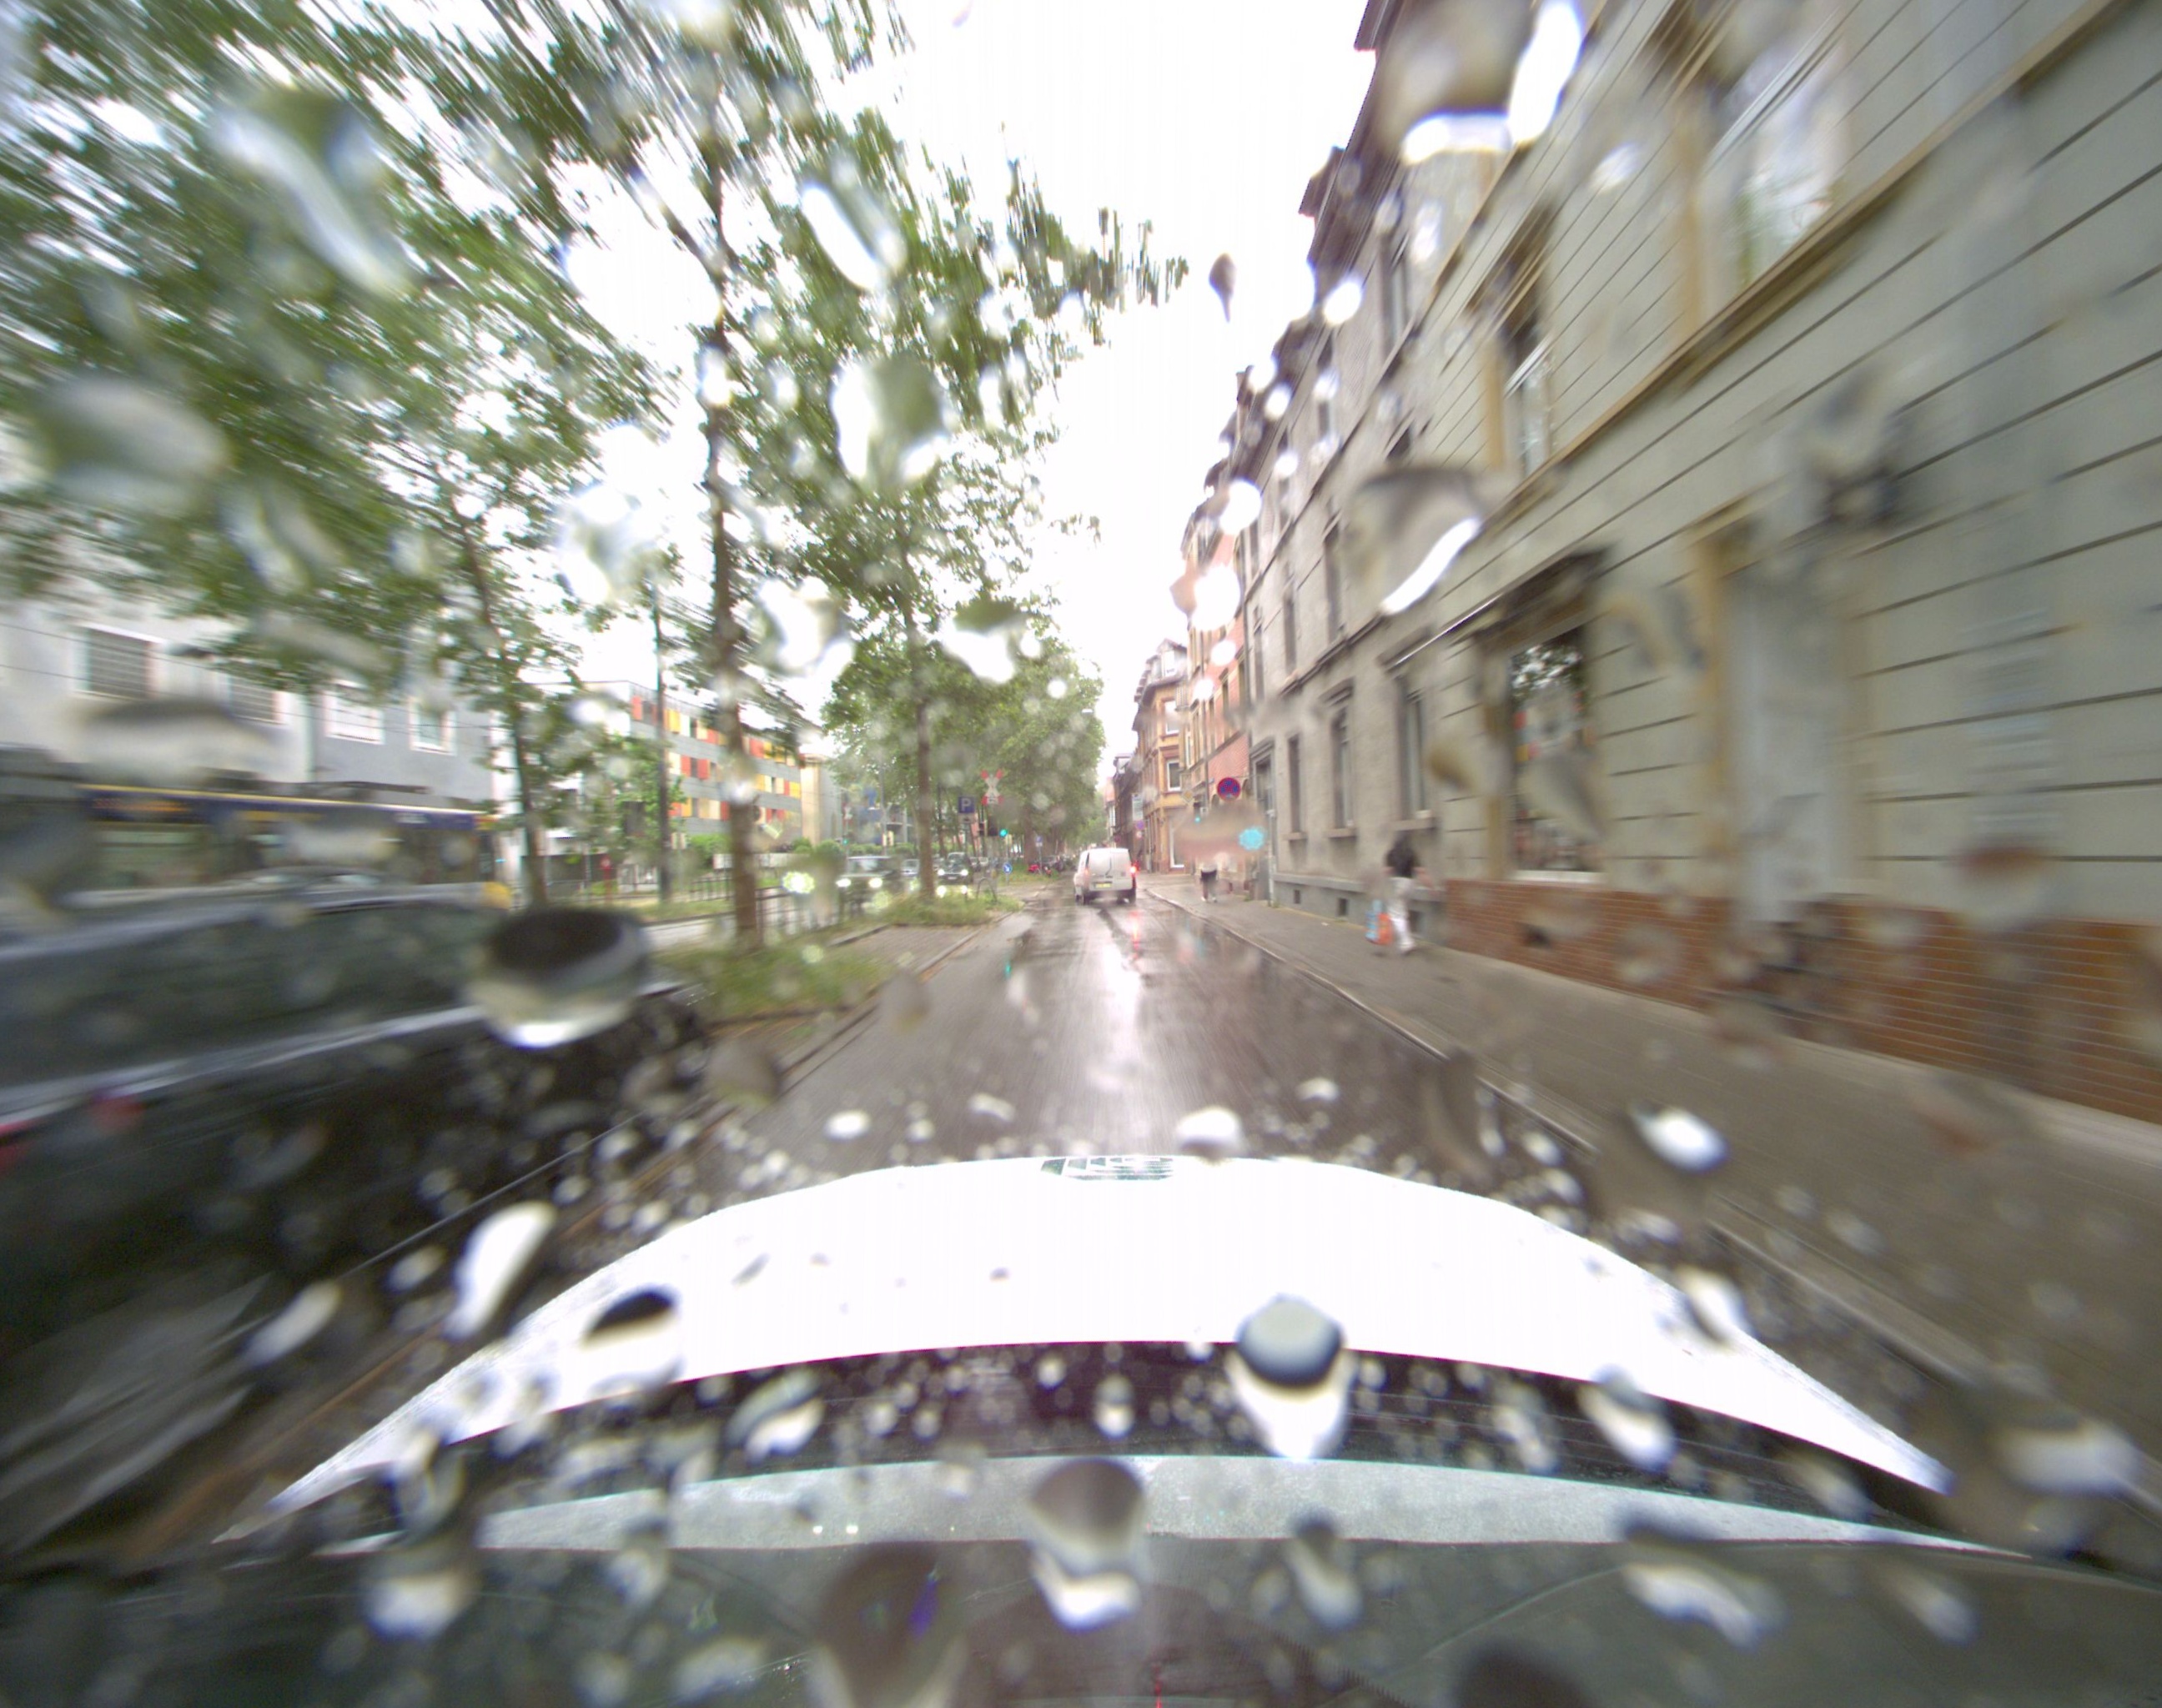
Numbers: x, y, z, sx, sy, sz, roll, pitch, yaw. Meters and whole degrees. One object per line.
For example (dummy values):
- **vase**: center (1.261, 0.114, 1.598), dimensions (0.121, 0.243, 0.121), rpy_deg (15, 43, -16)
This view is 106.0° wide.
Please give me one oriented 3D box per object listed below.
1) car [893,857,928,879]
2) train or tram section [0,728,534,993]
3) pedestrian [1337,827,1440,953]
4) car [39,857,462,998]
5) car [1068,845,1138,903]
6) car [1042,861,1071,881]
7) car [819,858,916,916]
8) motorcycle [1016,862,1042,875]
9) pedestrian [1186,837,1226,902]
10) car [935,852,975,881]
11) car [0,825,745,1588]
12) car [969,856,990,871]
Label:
- **car**: center (-11.774, 0.920, 56.453), dimensions (1.991, 1.415, 3.991), rpy_deg (-2, 0, -6)
- **train or tram section**: center (-16.095, 0.229, 14.267), dimensions (3.096, 3.558, 14.670), rpy_deg (-2, -1, 0)
- **pedestrian**: center (4.000, 0.446, 10.688), dimensions (0.837, 1.511, 1.108), rpy_deg (-5, 0, 1)
- **car**: center (-11.506, 0.889, 11.802), dimensions (1.987, 1.613, 3.999), rpy_deg (-2, 0, 0)
- **car**: center (0.664, 0.682, 27.763), dimensions (1.901, 1.797, 4.105), rpy_deg (-2, -1, -5)
- **car**: center (-1.886, 1.302, 63.543), dimensions (1.986, 1.387, 4.001), rpy_deg (-2, 0, 1)
- **car**: center (-6.642, 0.971, 25.783), dimensions (1.991, 1.613, 3.999), rpy_deg (-2, 0, 0)
- **motorcycle**: center (-3.516, 0.977, 55.019), dimensions (1.698, 0.864, 0.578), rpy_deg (-2, 0, 5)
- **pedestrian**: center (3.554, 0.431, 23.181), dimensions (0.837, 1.716, 1.108), rpy_deg (-5, 0, 1)
- **car**: center (-7.723, 0.748, 50.350), dimensions (1.993, 1.613, 4.119), rpy_deg (-2, 0, -3)
- **car**: center (-2.942, 0.705, 3.034), dimensions (1.643, 1.500, 4.118), rpy_deg (0, 0, 0)
- **car**: center (-11.740, 1.114, 94.252), dimensions (1.993, 1.613, 4.119), rpy_deg (-2, 0, -3)
